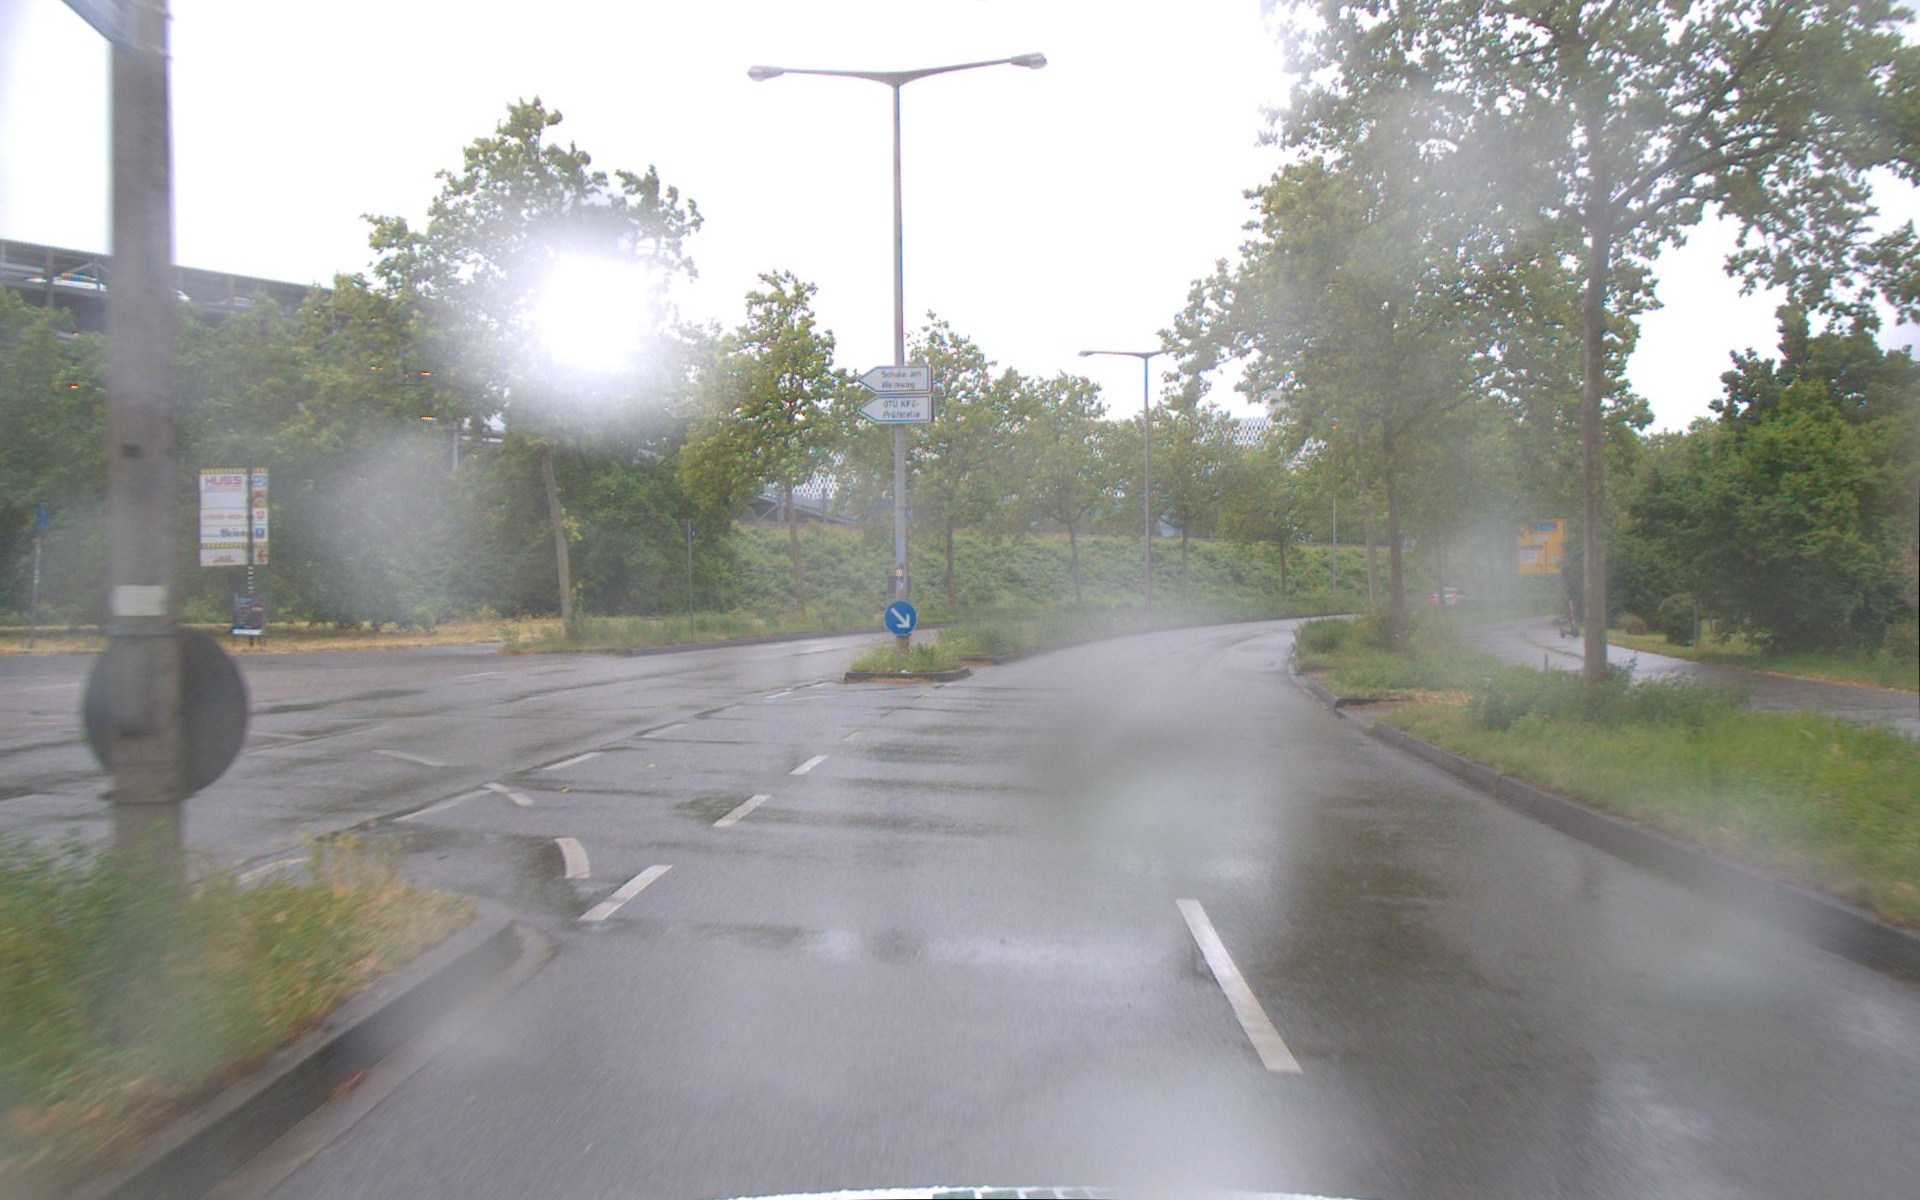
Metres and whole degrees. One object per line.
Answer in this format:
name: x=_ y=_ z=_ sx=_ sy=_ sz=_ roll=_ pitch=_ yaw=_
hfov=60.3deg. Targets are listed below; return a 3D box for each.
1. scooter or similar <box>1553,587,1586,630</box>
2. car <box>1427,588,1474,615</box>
scooter or similar: x=17.554 y=0.239 z=47.647 sx=0.537 sy=1.219 sz=1.112 roll=0 pitch=0 yaw=1
car: x=30.312 y=0.067 z=102.164 sx=1.747 sy=1.582 sz=3.990 roll=2 pitch=1 yaw=32
